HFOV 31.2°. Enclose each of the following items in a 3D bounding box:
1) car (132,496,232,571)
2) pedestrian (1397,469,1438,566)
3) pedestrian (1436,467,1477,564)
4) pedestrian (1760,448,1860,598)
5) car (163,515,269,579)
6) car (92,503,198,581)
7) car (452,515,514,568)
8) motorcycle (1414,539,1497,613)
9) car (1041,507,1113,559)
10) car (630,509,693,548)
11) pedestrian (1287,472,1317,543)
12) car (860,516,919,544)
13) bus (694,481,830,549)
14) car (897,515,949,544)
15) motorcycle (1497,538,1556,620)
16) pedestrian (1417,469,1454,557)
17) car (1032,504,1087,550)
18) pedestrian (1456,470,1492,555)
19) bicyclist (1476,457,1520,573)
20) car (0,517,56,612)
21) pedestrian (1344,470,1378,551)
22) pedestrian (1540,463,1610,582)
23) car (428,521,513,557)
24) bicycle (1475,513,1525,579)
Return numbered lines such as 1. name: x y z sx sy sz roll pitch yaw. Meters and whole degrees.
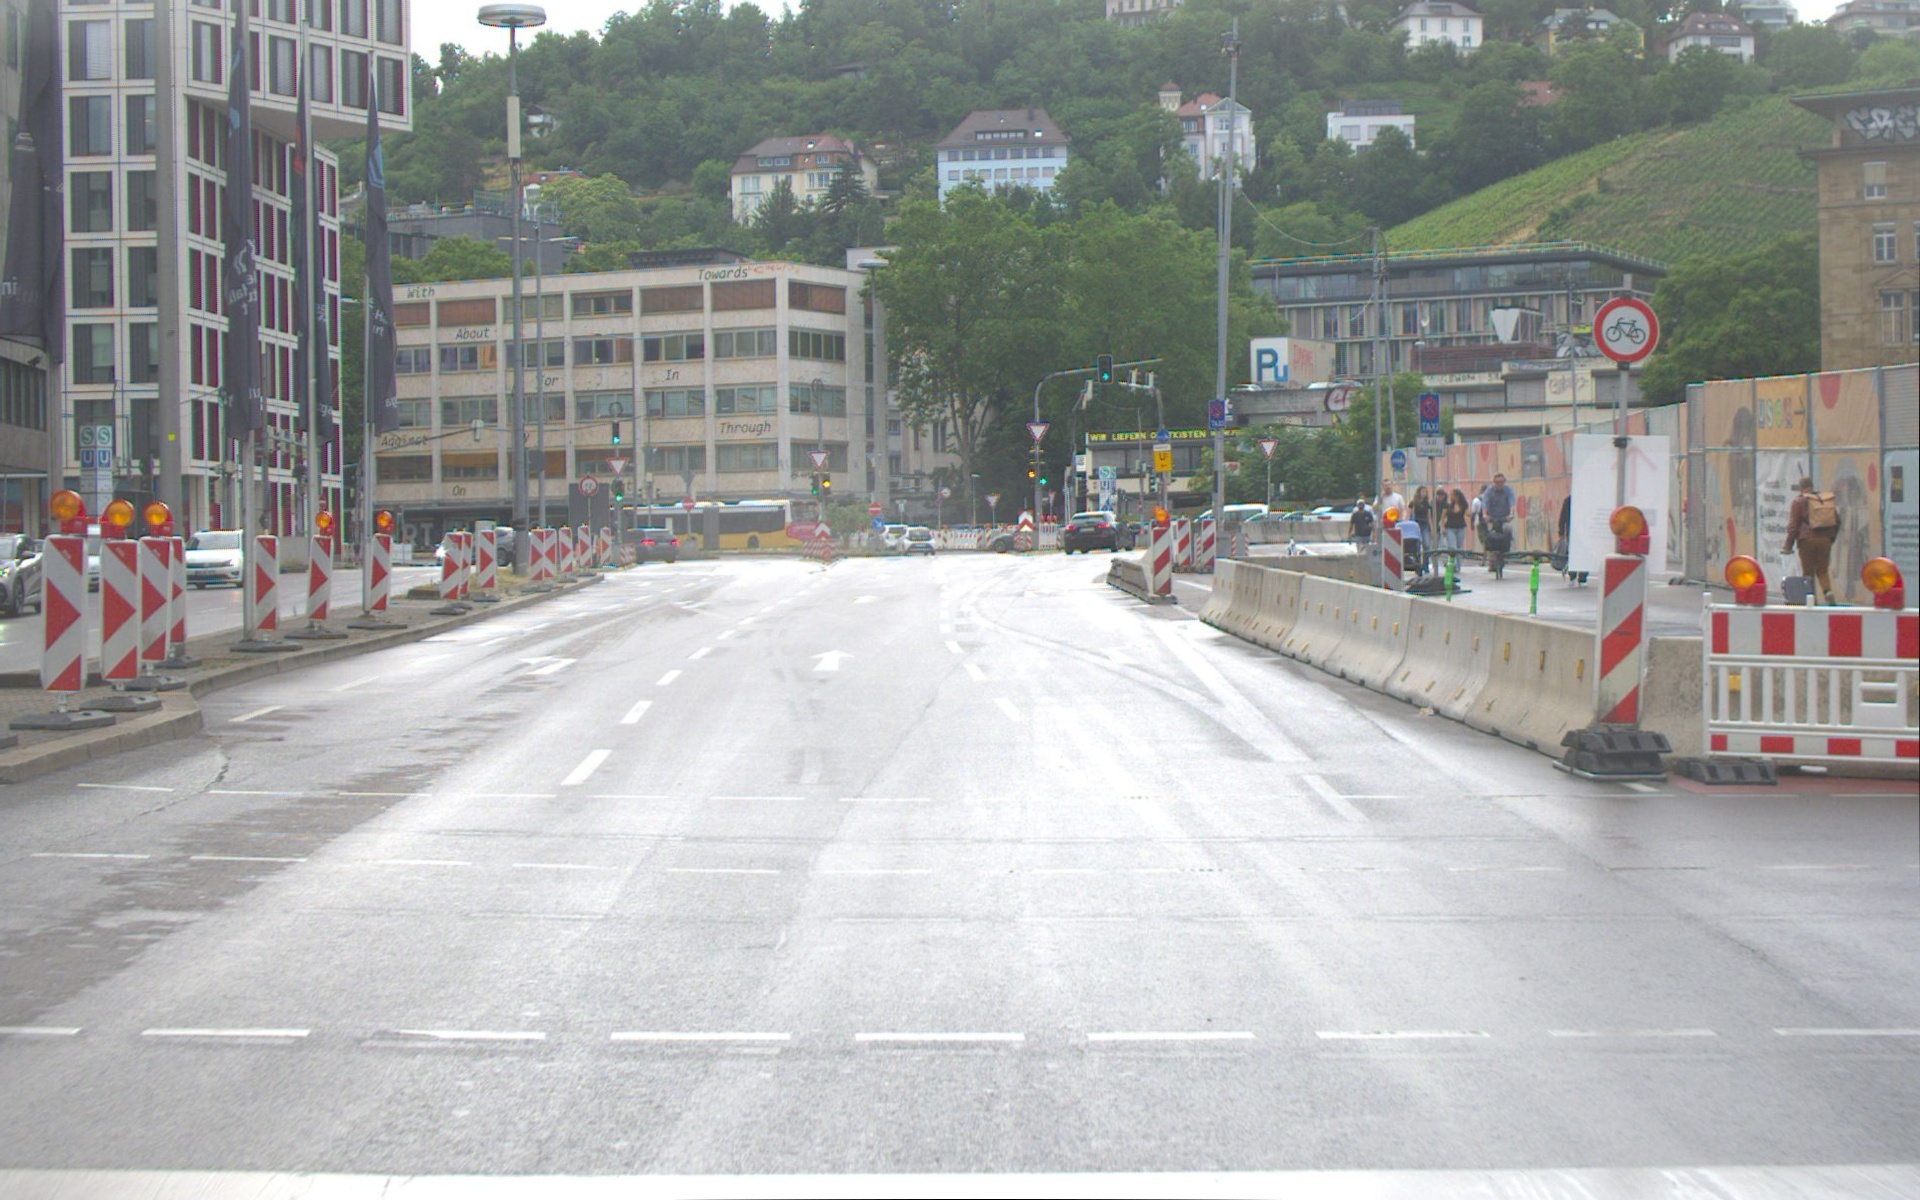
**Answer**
1. car: -22.151 -1.929 98.020 1.993 2.006 4.001 -2 2 -2
2. pedestrian: 8.783 -1.586 65.964 0.688 1.835 0.614 -1 1 3
3. pedestrian: 9.522 -1.611 65.913 0.688 1.835 0.614 -1 1 3
4. pedestrian: 10.664 -0.969 43.175 0.946 1.835 0.867 -2 1 -6
5. car: -19.521 -1.407 90.362 1.993 1.612 4.001 -1 1 -2
6. car: -21.959 -1.581 92.778 1.993 2.007 4.001 -1 1 -2
7. car: -19.184 -2.370 138.333 1.993 2.006 4.001 -2 2 -2
8. motorcycle: 4.710 -0.230 32.719 0.400 0.679 0.922 0 2 -18
9. car: 3.946 -2.281 116.417 1.993 1.700 4.001 -2 1 -4
10. car: -12.361 -2.948 142.213 1.993 1.546 4.001 -2 1 -14
11. pedestrian: 8.837 -2.391 88.927 0.688 1.835 0.614 -1 1 3
12. car: -3.849 -3.827 187.429 1.993 1.437 4.001 0 2 -20
13. bus: -11.636 -4.953 201.072 2.694 3.747 9.322 -3 2 -41
14. car: -1.864 -3.567 173.646 1.819 1.437 4.002 0 2 -12
15. motorcycle: 5.168 -0.201 31.388 0.371 0.719 0.922 0 2 -1
16. pedestrian: 10.128 -1.851 73.216 0.688 1.835 0.614 -1 1 3
17. car: 3.642 -2.682 126.485 1.776 1.633 4.001 -1 1 -2
18. pedestrian: 11.270 -1.913 75.392 0.688 1.835 0.614 -1 1 3
19. bicyclist: 9.485 -1.501 60.650 0.642 2.007 0.656 -1 1 2
20. car: -18.664 -0.672 65.319 1.993 1.744 4.001 -1 1 -2
21. pedestrian: 9.260 -2.068 79.417 0.688 1.835 0.614 -1 1 3
22. pedestrian: 9.663 -1.216 54.050 0.946 1.835 0.867 -1 1 4
23. car: -24.038 -2.996 168.888 1.997 1.590 3.994 -1 2 30
24. bicycle: 9.484 -0.958 60.434 0.645 1.133 1.764 -1 1 2
